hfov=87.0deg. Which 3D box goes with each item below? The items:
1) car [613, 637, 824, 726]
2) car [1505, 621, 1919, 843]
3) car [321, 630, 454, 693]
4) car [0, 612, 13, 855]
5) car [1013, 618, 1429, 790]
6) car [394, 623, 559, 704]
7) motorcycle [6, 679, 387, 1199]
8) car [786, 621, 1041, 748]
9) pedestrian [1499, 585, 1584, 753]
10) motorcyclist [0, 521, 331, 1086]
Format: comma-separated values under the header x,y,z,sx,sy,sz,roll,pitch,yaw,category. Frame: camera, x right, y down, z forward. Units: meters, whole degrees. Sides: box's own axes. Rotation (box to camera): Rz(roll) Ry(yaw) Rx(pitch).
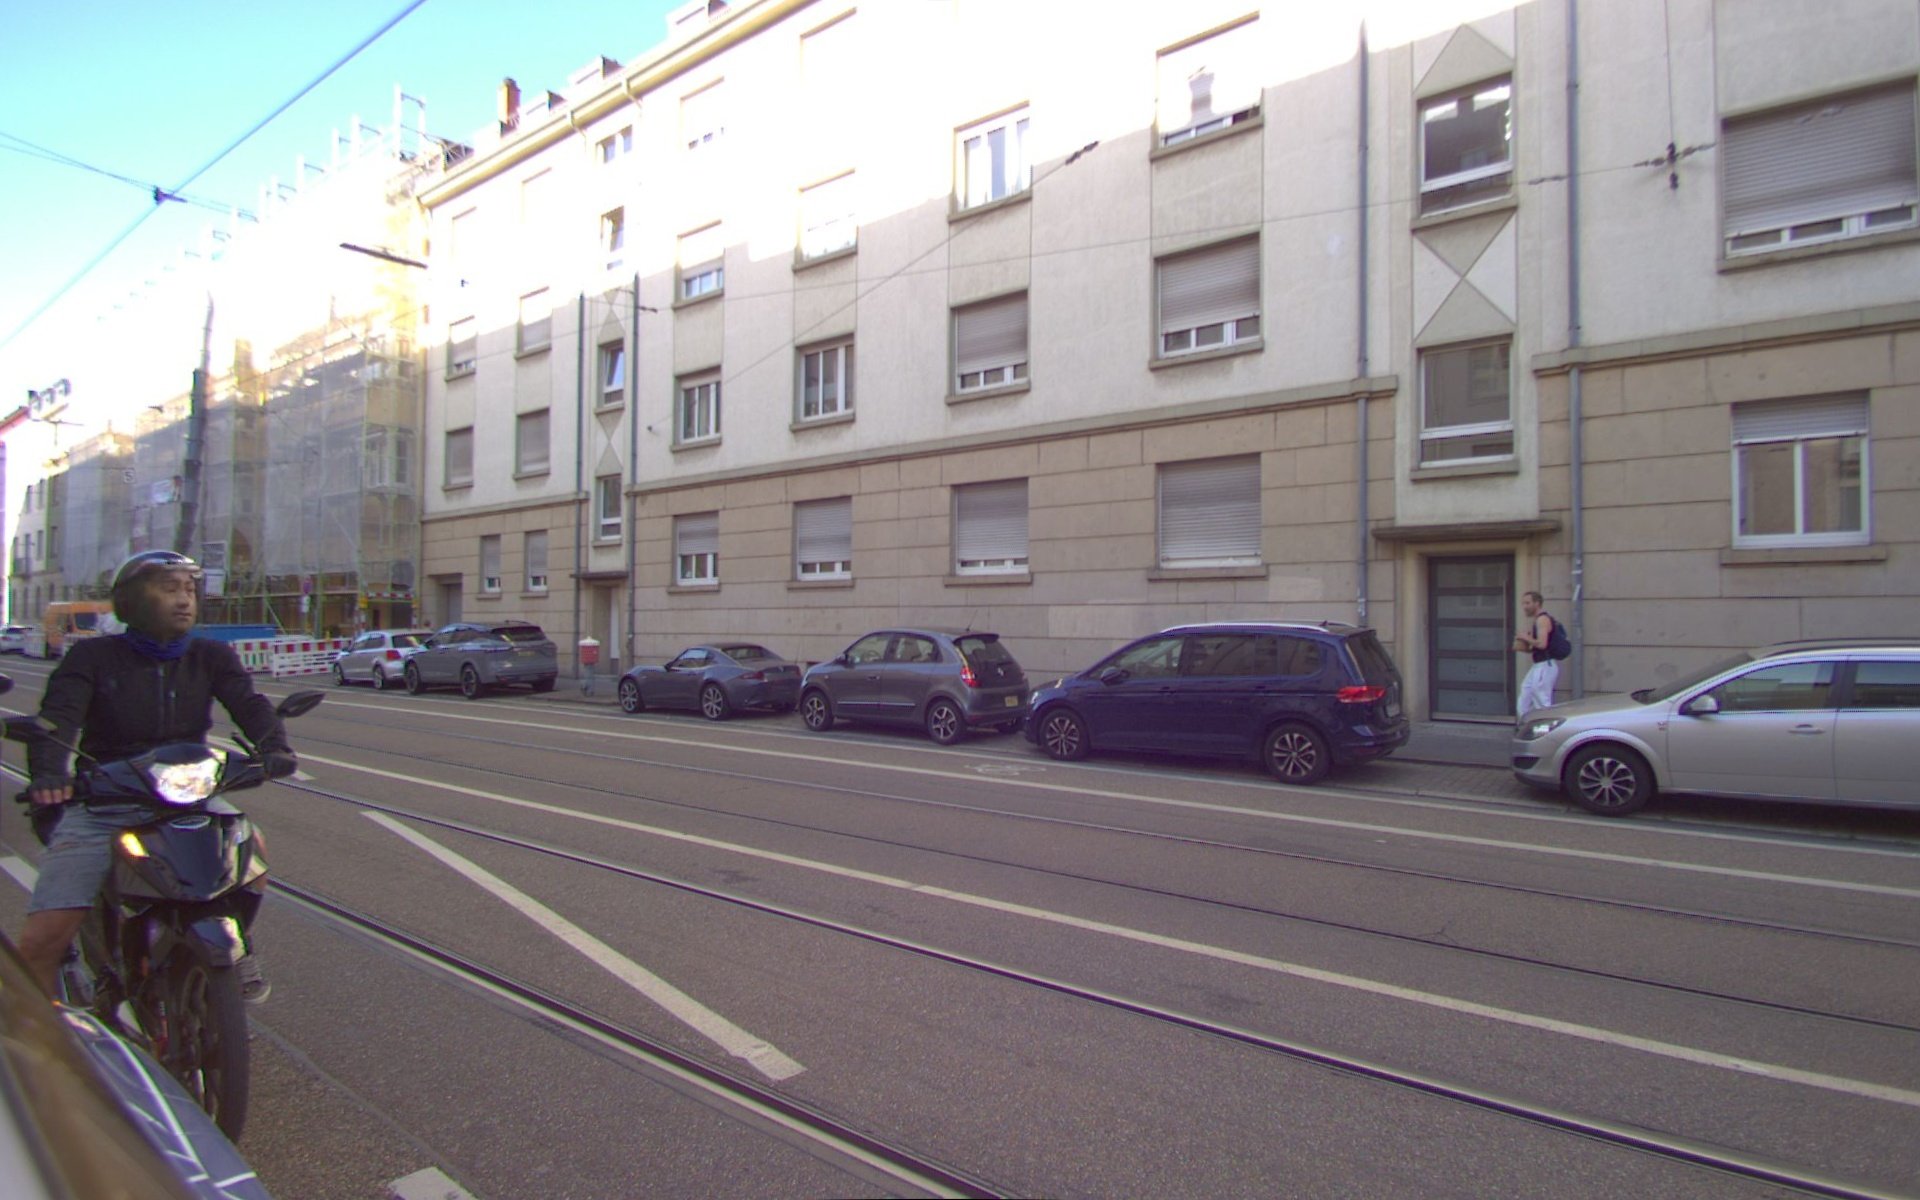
x,y,z,sx,sy,sz,roll,pitch,yaw,category
-4.212,1.326,17.503,3.483,1.286,1.730,-1,0,37,car
7.216,0.993,8.535,4.358,1.571,1.975,-1,0,38,car
-14.435,1.495,25.467,3.639,1.402,1.617,-1,0,37,car
-8.017,0.849,6.997,3.997,1.515,1.670,-2,-3,40,car
2.914,1.029,11.729,4.285,1.597,1.887,-1,0,37,car
-10.868,1.347,22.656,4.108,1.603,1.691,-1,0,38,car
-2.412,0.913,3.084,1.980,1.228,0.532,-1,0,41,motorcycle
-0.729,1.119,14.730,3.493,1.584,1.650,-1,0,38,car
6.651,0.762,11.576,0.733,1.846,0.592,-1,0,41,pedestrian
-2.571,0.544,3.194,0.598,1.516,0.851,-1,0,41,motorcyclist
